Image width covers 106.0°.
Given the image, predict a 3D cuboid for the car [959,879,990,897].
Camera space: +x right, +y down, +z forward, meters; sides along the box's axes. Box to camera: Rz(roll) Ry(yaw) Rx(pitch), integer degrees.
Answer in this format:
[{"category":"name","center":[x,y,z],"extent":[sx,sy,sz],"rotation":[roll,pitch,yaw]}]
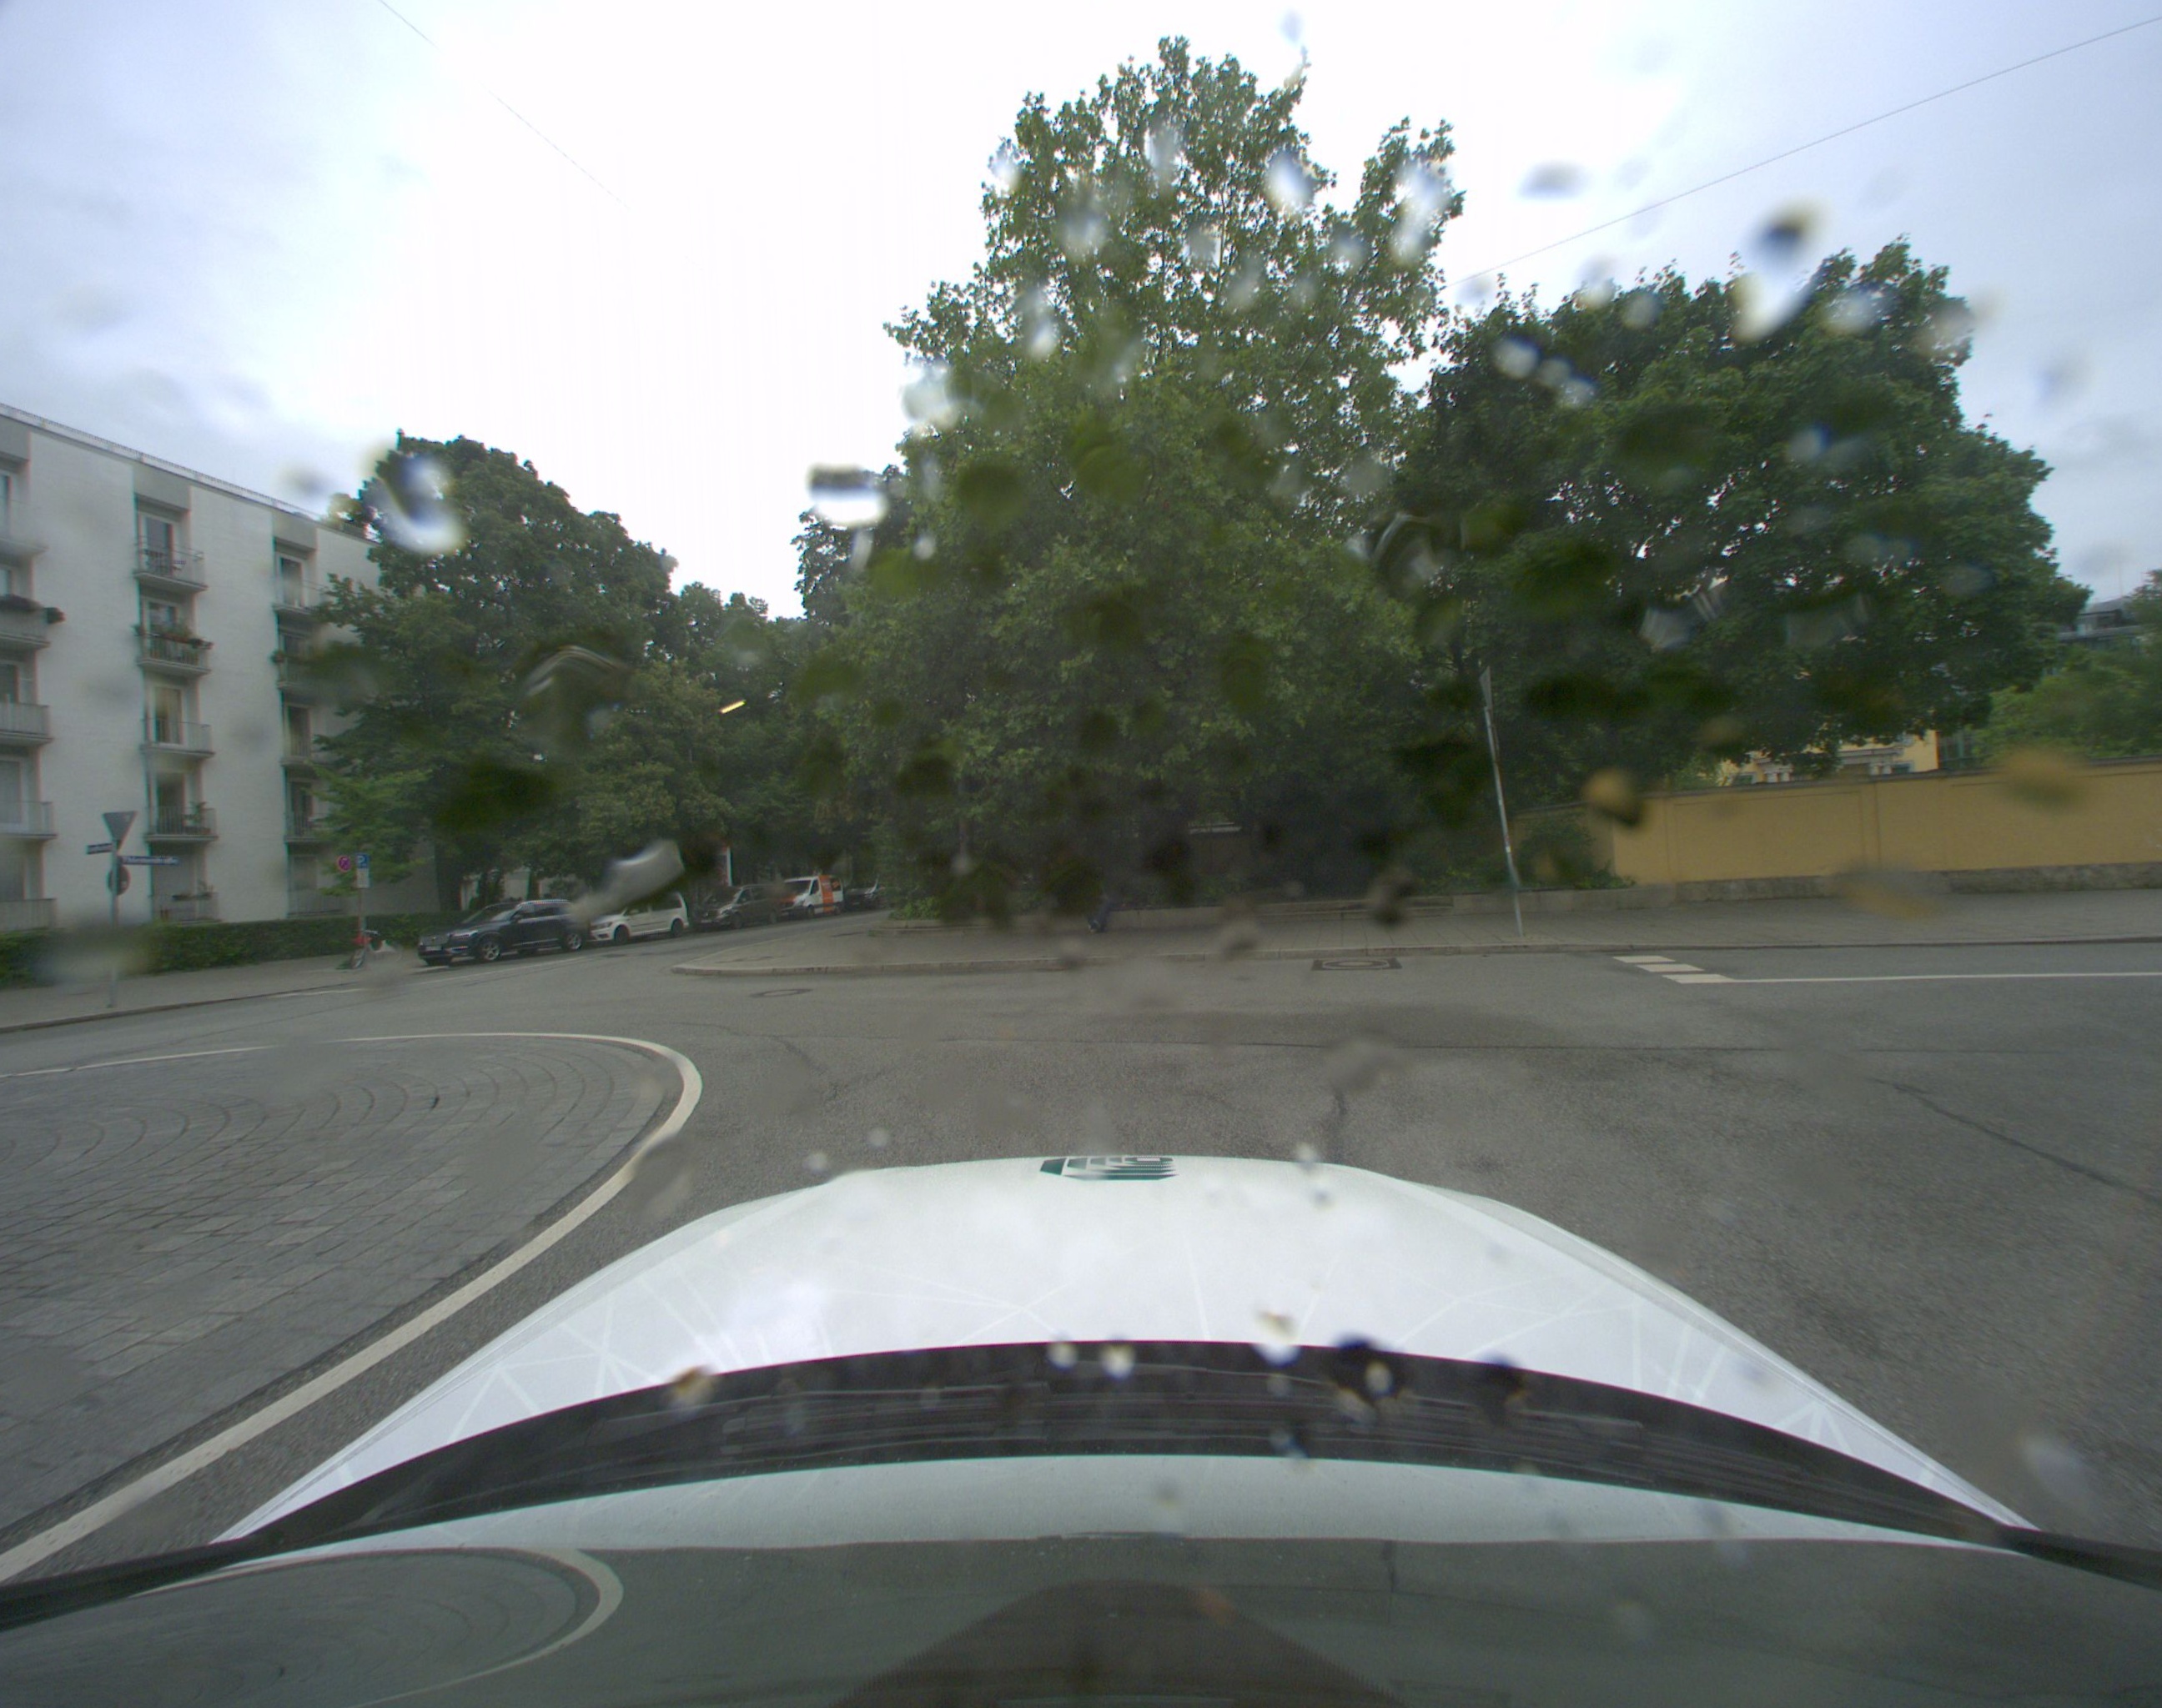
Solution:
[{"category":"car","center":[-10.099,3.242,77.621],"extent":[1.984,1.487,4.135],"rotation":[-3,-1,5]}]

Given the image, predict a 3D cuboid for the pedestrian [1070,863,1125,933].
[{"category":"pedestrian","center":[0.357,0.891,16.820],"extent":[0.763,1.357,1.136],"rotation":[-4,-1,17]}]

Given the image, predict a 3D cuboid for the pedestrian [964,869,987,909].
[{"category":"pedestrian","center":[-5.087,1.666,39.062],"extent":[0.822,1.836,0.946],"rotation":[-3,-2,-19]}]

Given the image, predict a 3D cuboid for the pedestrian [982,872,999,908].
[{"category":"pedestrian","center":[-4.311,1.689,38.664],"extent":[0.634,1.667,0.694],"rotation":[-3,-2,-14]}]

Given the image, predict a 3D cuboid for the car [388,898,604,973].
[{"category":"car","center":[-17.641,2.383,25.002],"extent":[2.070,1.719,5.320],"rotation":[-4,-1,11]}]

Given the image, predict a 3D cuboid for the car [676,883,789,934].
[{"category":"car","center":[-15.703,2.397,37.138],"extent":[2.015,1.908,5.677],"rotation":[-5,-1,7]}]

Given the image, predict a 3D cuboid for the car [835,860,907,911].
[{"category":"car","center":[-13.533,1.967,52.924],"extent":[2.161,3.002,6.246],"rotation":[-4,-1,7]}]

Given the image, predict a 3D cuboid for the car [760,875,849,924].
[{"category":"car","center":[-14.833,2.373,44.114],"extent":[2.072,2.265,5.616],"rotation":[-5,-2,9]}]

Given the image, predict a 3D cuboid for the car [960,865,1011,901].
[{"category":"car","center":[-5.697,1.703,49.410],"extent":[1.901,1.937,4.977],"rotation":[-4,-1,6]}]

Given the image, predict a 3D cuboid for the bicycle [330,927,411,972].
[{"category":"bicycle","center":[-20.477,2.741,23.530],"extent":[0.749,1.085,1.783],"rotation":[-4,-1,-2]}]

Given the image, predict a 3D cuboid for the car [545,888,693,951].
[{"category":"car","center":[-16.930,2.353,30.189],"extent":[2.071,1.904,4.871],"rotation":[-4,-1,9]}]
